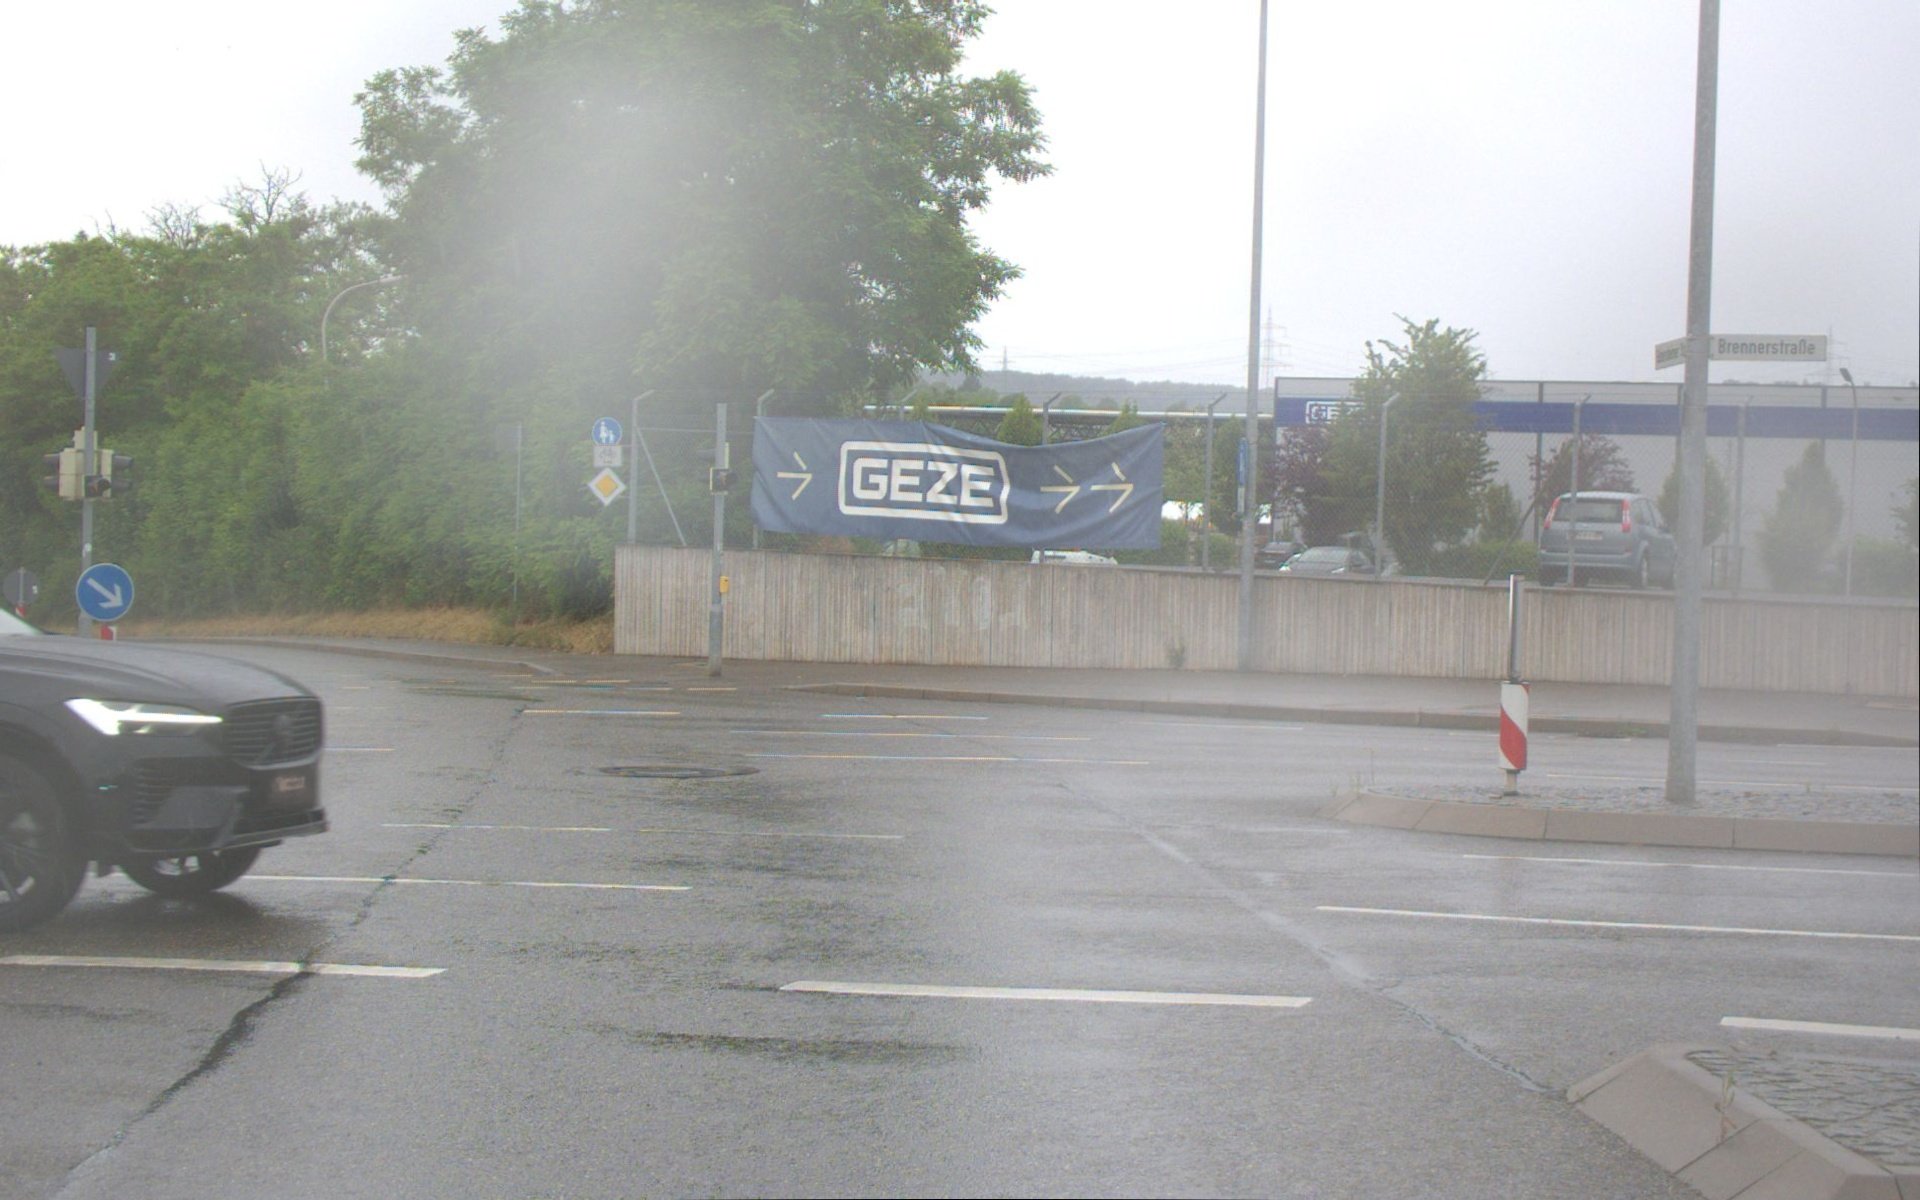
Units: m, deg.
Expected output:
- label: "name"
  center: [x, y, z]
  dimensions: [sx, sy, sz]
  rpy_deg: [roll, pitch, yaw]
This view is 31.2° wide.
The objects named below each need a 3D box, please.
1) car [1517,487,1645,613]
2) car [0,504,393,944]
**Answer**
- label: "car"
  center: [10.449, -0.845, 57.683]
  dimensions: [1.994, 2.007, 3.998]
  rpy_deg: [1, 1, 11]
- label: "car"
  center: [-4.975, 0.443, 14.665]
  dimensions: [4.620, 1.673, 2.033]
  rpy_deg: [0, 1, 15]
